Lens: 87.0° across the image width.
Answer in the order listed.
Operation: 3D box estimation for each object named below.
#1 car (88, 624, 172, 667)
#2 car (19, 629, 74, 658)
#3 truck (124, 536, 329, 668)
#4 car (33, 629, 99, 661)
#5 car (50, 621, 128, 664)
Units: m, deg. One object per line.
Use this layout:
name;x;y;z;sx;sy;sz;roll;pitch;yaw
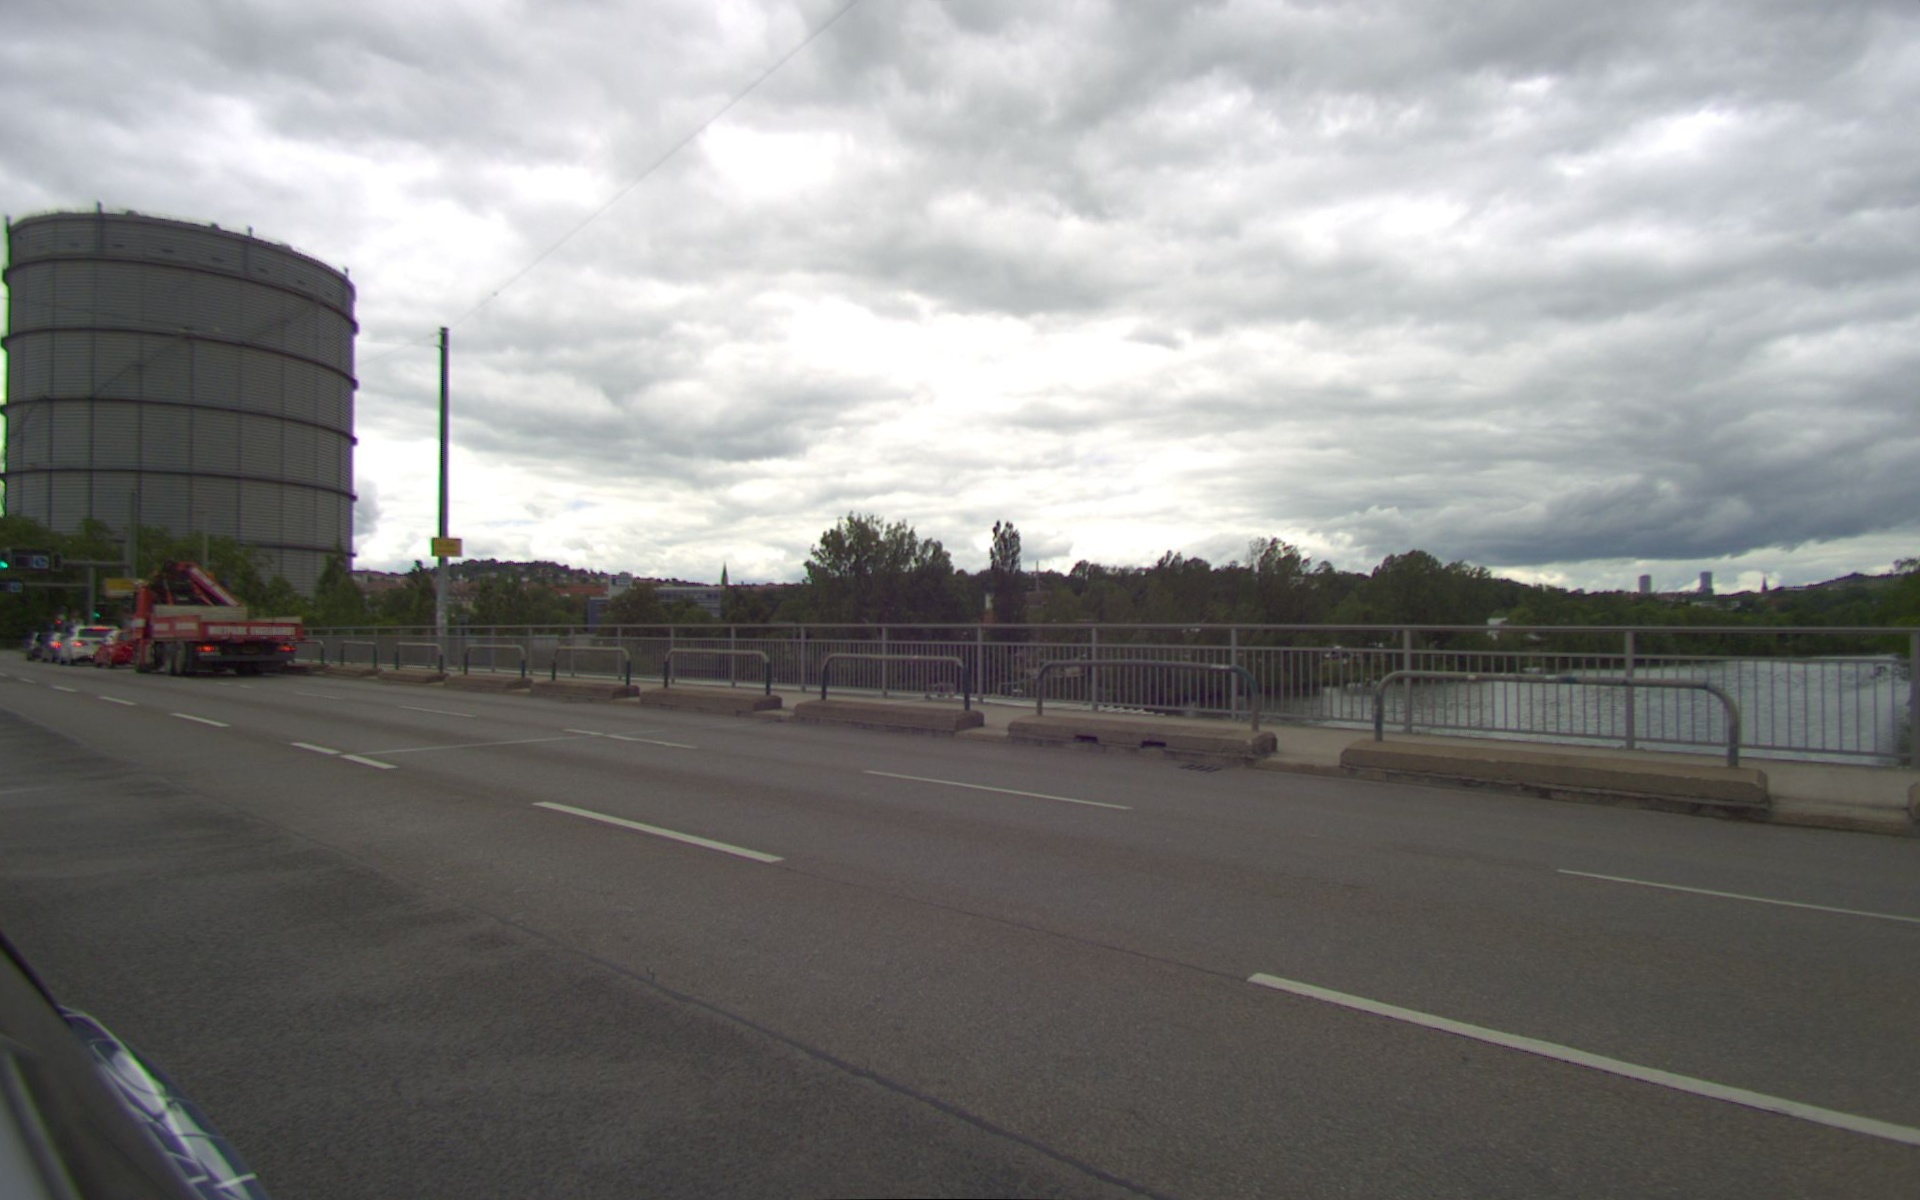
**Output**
car;-32.594;1.795;39.720;4.013;1.615;1.860;-2;-4;41
car;-49.753;2.359;55.113;3.870;1.516;1.816;-2;-4;42
truck;-23.319;0.255;31.882;9.976;3.593;2.974;-2;-4;41
car;-43.934;2.199;49.732;4.514;1.516;1.816;-2;-4;41
car;-38.105;1.850;44.220;4.800;1.775;1.860;-2;-4;41
